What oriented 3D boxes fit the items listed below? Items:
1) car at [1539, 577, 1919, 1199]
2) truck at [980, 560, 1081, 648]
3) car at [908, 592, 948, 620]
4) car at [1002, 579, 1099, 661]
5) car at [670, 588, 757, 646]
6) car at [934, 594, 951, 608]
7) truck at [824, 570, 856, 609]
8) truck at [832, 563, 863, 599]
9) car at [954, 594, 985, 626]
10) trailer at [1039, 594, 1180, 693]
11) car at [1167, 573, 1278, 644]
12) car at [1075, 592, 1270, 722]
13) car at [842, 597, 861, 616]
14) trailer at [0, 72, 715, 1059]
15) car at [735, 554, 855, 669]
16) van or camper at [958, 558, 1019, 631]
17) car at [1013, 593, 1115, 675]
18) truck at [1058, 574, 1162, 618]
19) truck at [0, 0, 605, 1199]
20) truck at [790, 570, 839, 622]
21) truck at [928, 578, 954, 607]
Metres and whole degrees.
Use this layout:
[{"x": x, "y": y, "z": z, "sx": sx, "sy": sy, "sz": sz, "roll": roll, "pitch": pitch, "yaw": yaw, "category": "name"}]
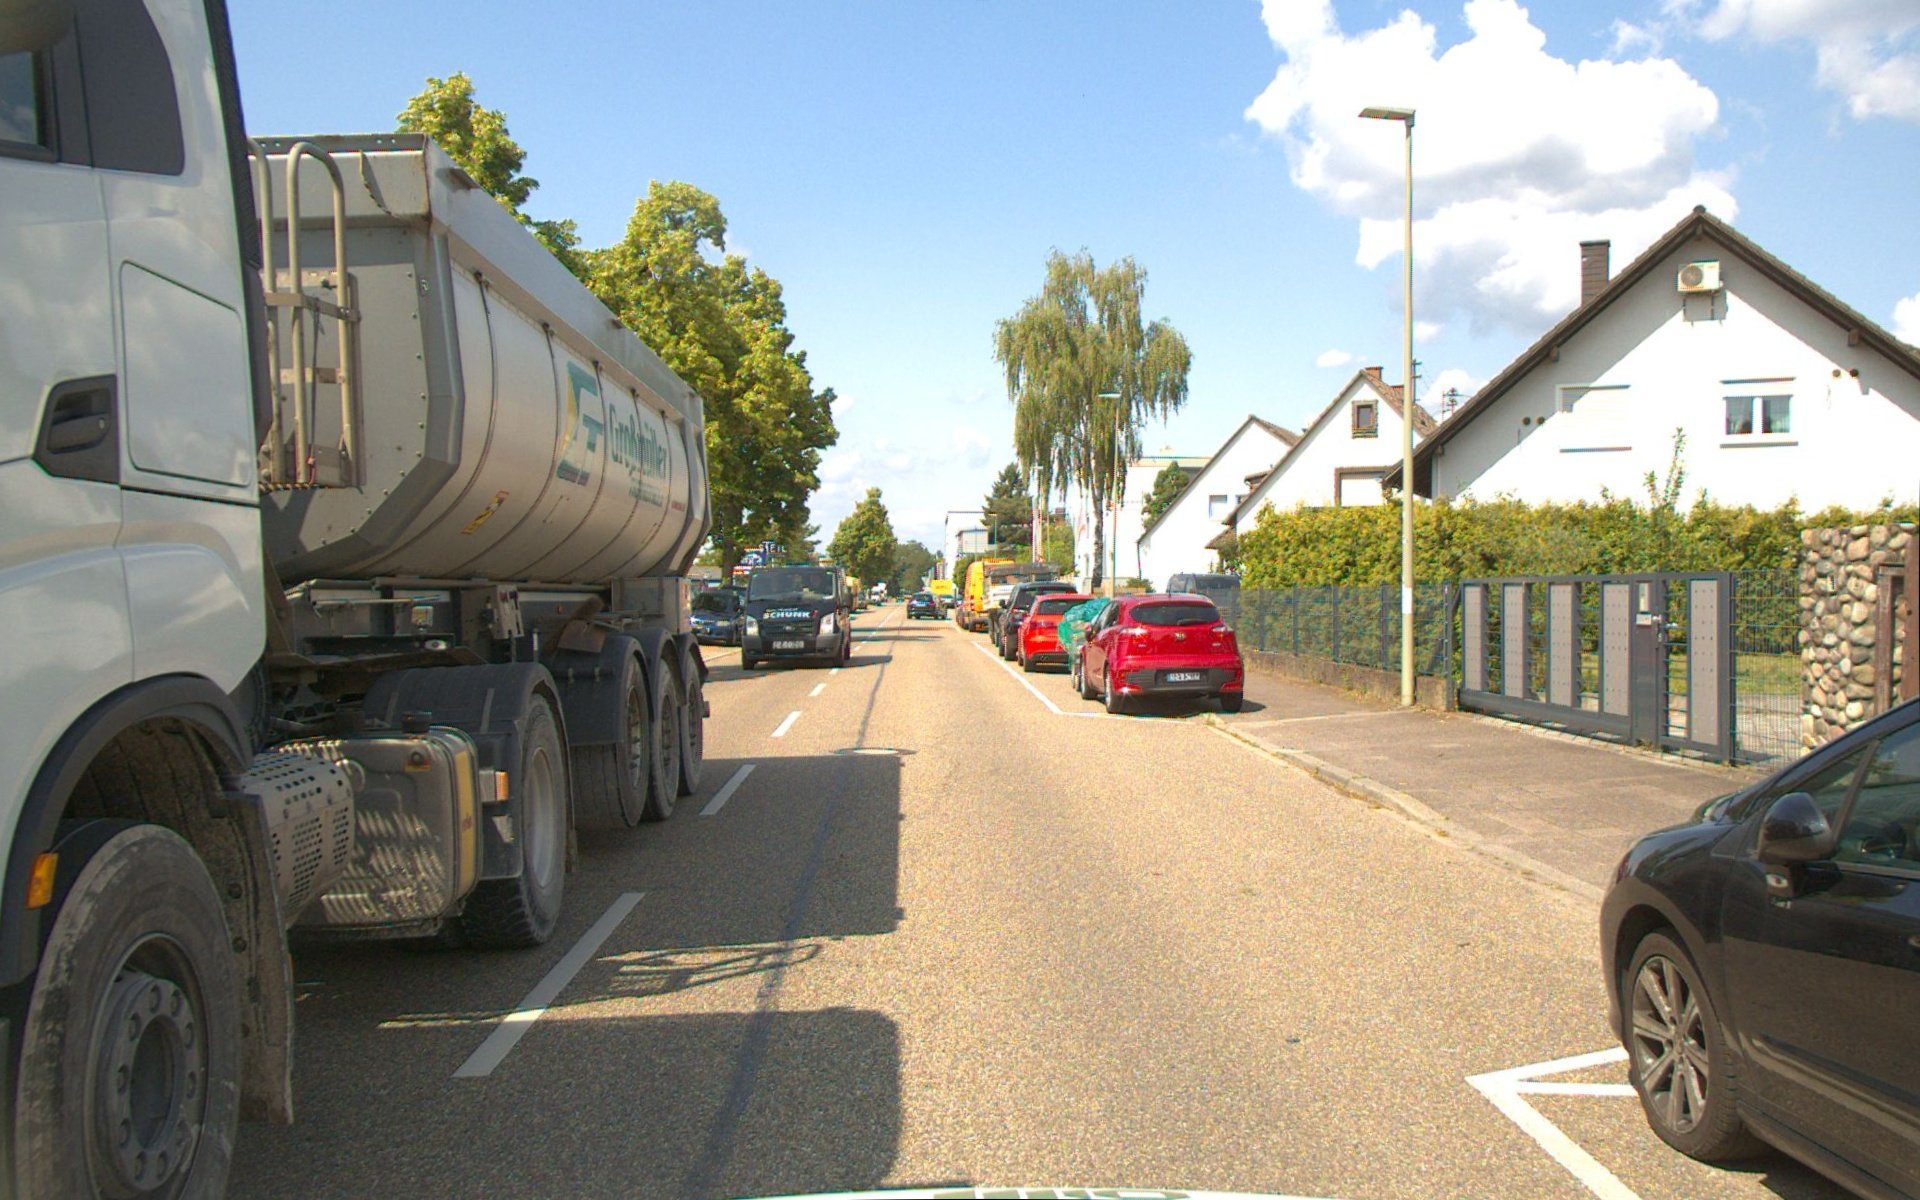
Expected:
[{"x": 2.845, "y": 0.735, "z": 3.357, "sx": 1.709, "sy": 1.578, "sz": 4.119, "roll": -1, "pitch": 0, "yaw": -3, "category": "car"}, {"x": 1.921, "y": 0.100, "z": 47.132, "sx": 2.471, "sy": 2.339, "sz": 5.893, "roll": 0, "pitch": 0, "yaw": -1, "category": "truck"}, {"x": -1.746, "y": 0.316, "z": 92.147, "sx": 1.397, "sy": 1.545, "sz": 3.019, "roll": 0, "pitch": 0, "yaw": 16, "category": "car"}, {"x": 1.930, "y": 0.408, "z": 36.513, "sx": 1.793, "sy": 1.691, "sz": 4.552, "roll": 0, "pitch": 0, "yaw": -1, "category": "car"}, {"x": -6.980, "y": 0.458, "z": 47.284, "sx": 1.664, "sy": 1.509, "sz": 4.160, "roll": 2, "pitch": 0, "yaw": 2, "category": "car"}, {"x": -1.778, "y": 0.086, "z": 168.766, "sx": 1.618, "sy": 1.411, "sz": 4.421, "roll": 1, "pitch": 1, "yaw": -2, "category": "car"}, {"x": -9.383, "y": -0.755, "z": 129.504, "sx": 2.223, "sy": 2.904, "sz": 7.170, "roll": 1, "pitch": 0, "yaw": -2, "category": "truck"}, {"x": -9.450, "y": -1.591, "z": 139.816, "sx": 2.269, "sy": 2.912, "sz": 7.101, "roll": 2, "pitch": 0, "yaw": -2, "category": "truck"}, {"x": 0.470, "y": 0.500, "z": 88.282, "sx": 1.577, "sy": 1.608, "sz": 4.000, "roll": 1, "pitch": 0, "yaw": 0, "category": "car"}, {"x": 2.262, "y": 0.621, "z": 26.028, "sx": 1.576, "sy": 1.402, "sz": 4.429, "roll": 1, "pitch": 0, "yaw": -3, "category": "trailer"}, {"x": 7.331, "y": 0.217, "z": 46.657, "sx": 1.821, "sy": 1.898, "sz": 5.014, "roll": 0, "pitch": 0, "yaw": -6, "category": "car"}, {"x": 2.614, "y": 0.648, "z": 21.396, "sx": 1.658, "sy": 1.488, "sz": 4.753, "roll": 1, "pitch": 0, "yaw": -3, "category": "car"}, {"x": -10.358, "y": 0.610, "z": 158.040, "sx": 1.690, "sy": 1.632, "sz": 4.411, "roll": 3, "pitch": 0, "yaw": -4, "category": "car"}, {"x": -3.194, "y": -0.134, "z": 9.677, "sx": 2.778, "sy": 3.122, "sz": 8.882, "roll": 0, "pitch": 0, "yaw": -4, "category": "trailer"}, {"x": -3.209, "y": 0.206, "z": 33.135, "sx": 2.010, "sy": 2.069, "sz": 5.139, "roll": -2, "pitch": 0, "yaw": -2, "category": "car"}, {"x": 1.056, "y": -0.224, "z": 64.273, "sx": 1.954, "sy": 2.710, "sz": 5.765, "roll": 0, "pitch": 0, "yaw": -4, "category": "van or camper"}, {"x": 1.933, "y": 0.600, "z": 31.857, "sx": 1.650, "sy": 1.460, "sz": 4.145, "roll": 1, "pitch": 0, "yaw": -1, "category": "car"}, {"x": 9.130, "y": -0.244, "z": 100.615, "sx": 5.970, "sy": 2.622, "sz": 2.543, "roll": 0, "pitch": 0, "yaw": -28, "category": "truck"}, {"x": -2.878, "y": -0.303, "z": 4.686, "sx": 2.717, "sy": 3.560, "sz": 5.878, "roll": 0, "pitch": 0, "yaw": -3, "category": "truck"}, {"x": -8.462, "y": -0.241, "z": 96.588, "sx": 2.175, "sy": 2.907, "sz": 7.069, "roll": 2, "pitch": 0, "yaw": 0, "category": "truck"}, {"x": -2.085, "y": -0.789, "z": 180.331, "sx": 2.425, "sy": 2.991, "sz": 7.184, "roll": 1, "pitch": 0, "yaw": -3, "category": "truck"}]
